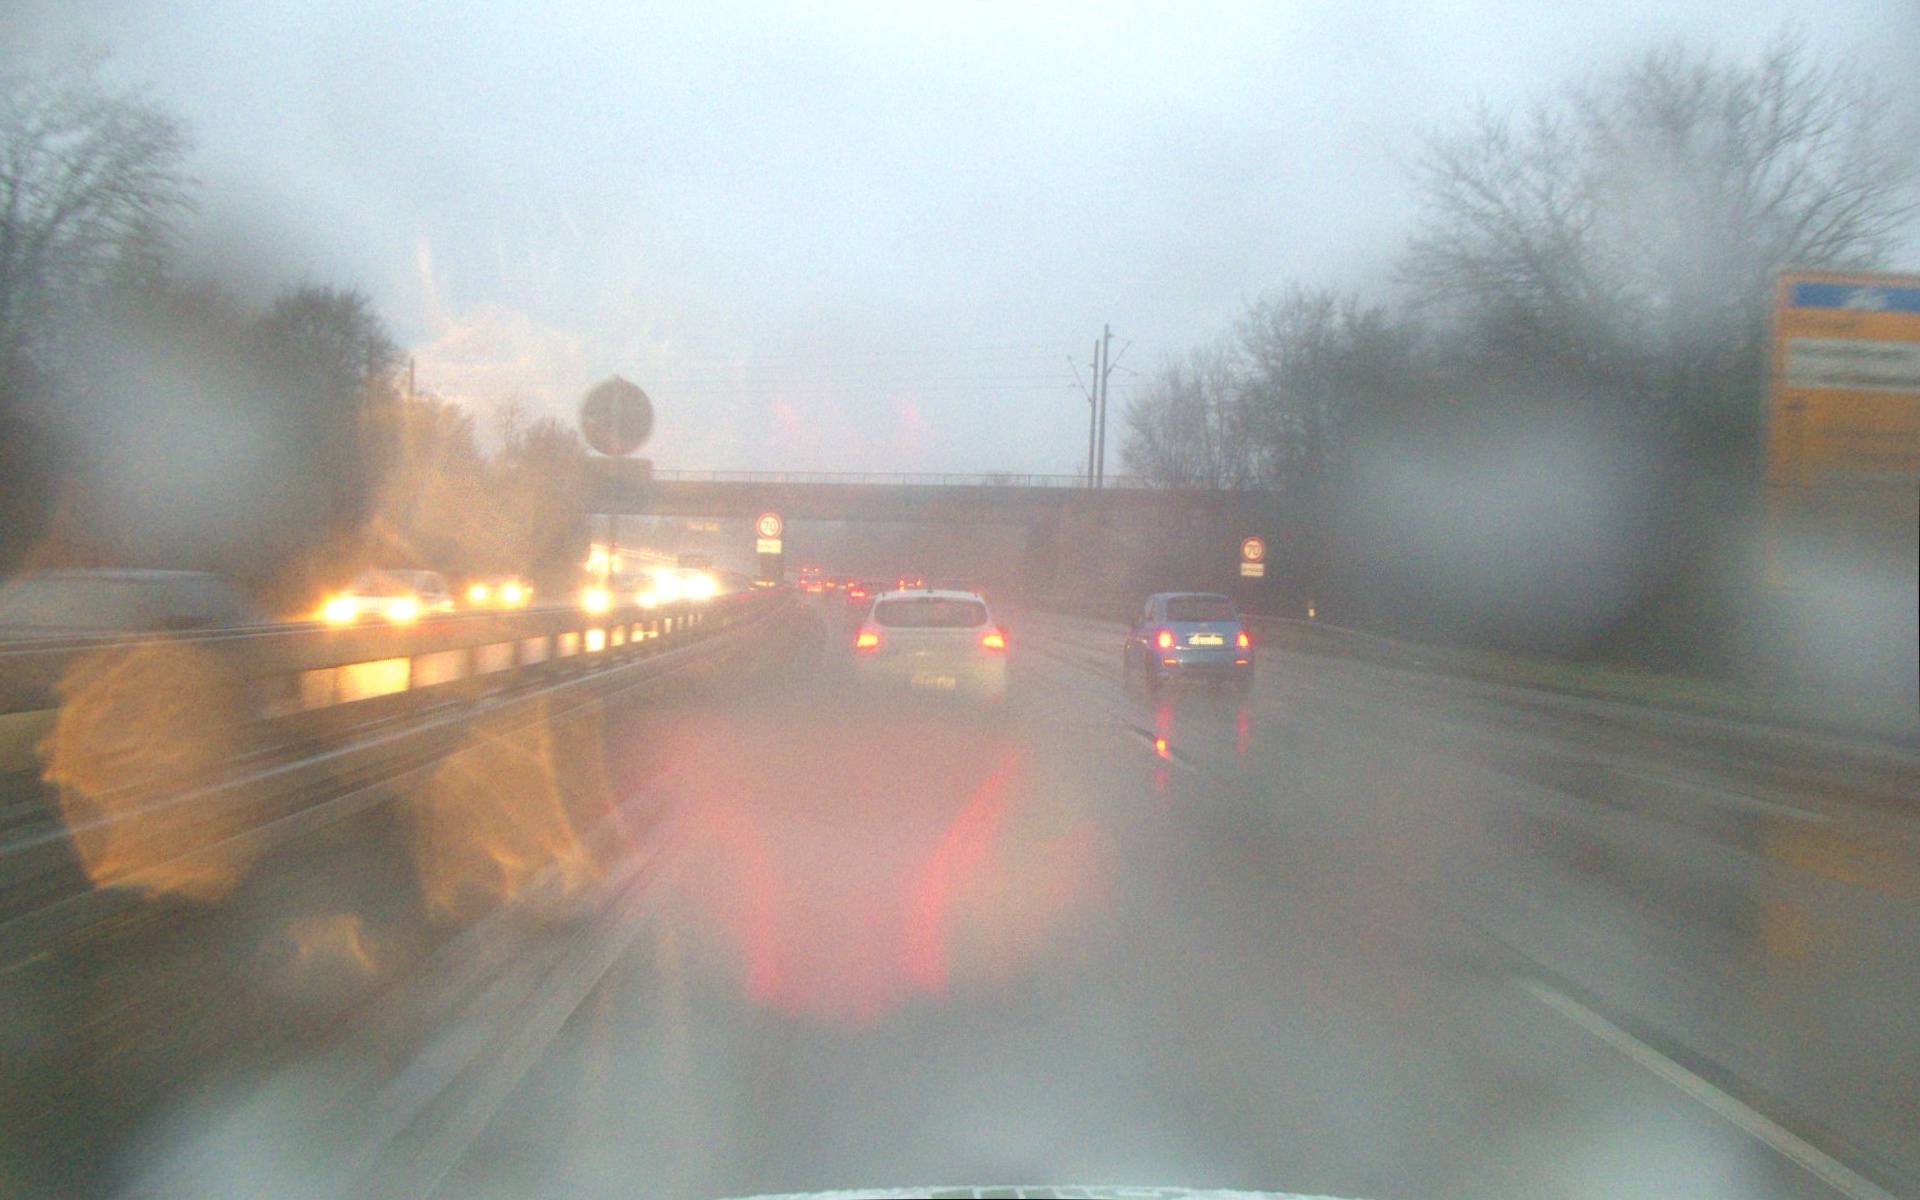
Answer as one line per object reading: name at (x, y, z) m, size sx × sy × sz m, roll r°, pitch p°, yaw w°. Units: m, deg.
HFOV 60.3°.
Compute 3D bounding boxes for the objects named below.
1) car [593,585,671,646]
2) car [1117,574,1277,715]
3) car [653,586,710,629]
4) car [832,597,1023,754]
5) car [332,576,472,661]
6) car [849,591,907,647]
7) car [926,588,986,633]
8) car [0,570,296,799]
car at (-9.896, 0.468, 50.105) m, size 1.732 × 1.713 × 3.997 m, roll 2°, pitch 0°, yaw -3°
car at (3.701, 0.678, 26.486) m, size 1.893 × 2.055 × 3.772 m, roll 2°, pitch 0°, yaw -2°
car at (-12.847, 0.343, 76.541) m, size 1.947 × 1.862 × 5.116 m, roll 2°, pitch 0°, yaw -3°
car at (-0.323, 0.813, 19.443) m, size 1.983 × 1.602 × 4.000 m, roll 2°, pitch 0°, yaw 0°
car at (-12.086, 0.399, 36.112) m, size 1.658 × 1.695 × 4.431 m, roll 2°, pitch 0°, yaw -2°
car at (-3.216, 0.729, 64.365) m, size 1.955 × 2.049 × 3.994 m, roll 2°, pitch 0°, yaw -6°
car at (-0.195, 0.460, 67.841) m, size 1.897 × 1.573 × 3.766 m, roll -4°, pitch -2°, yaw -8°
car at (-6.733, 0.540, 12.641) m, size 1.719 × 1.466 × 3.999 m, roll 2°, pitch 0°, yaw -1°
